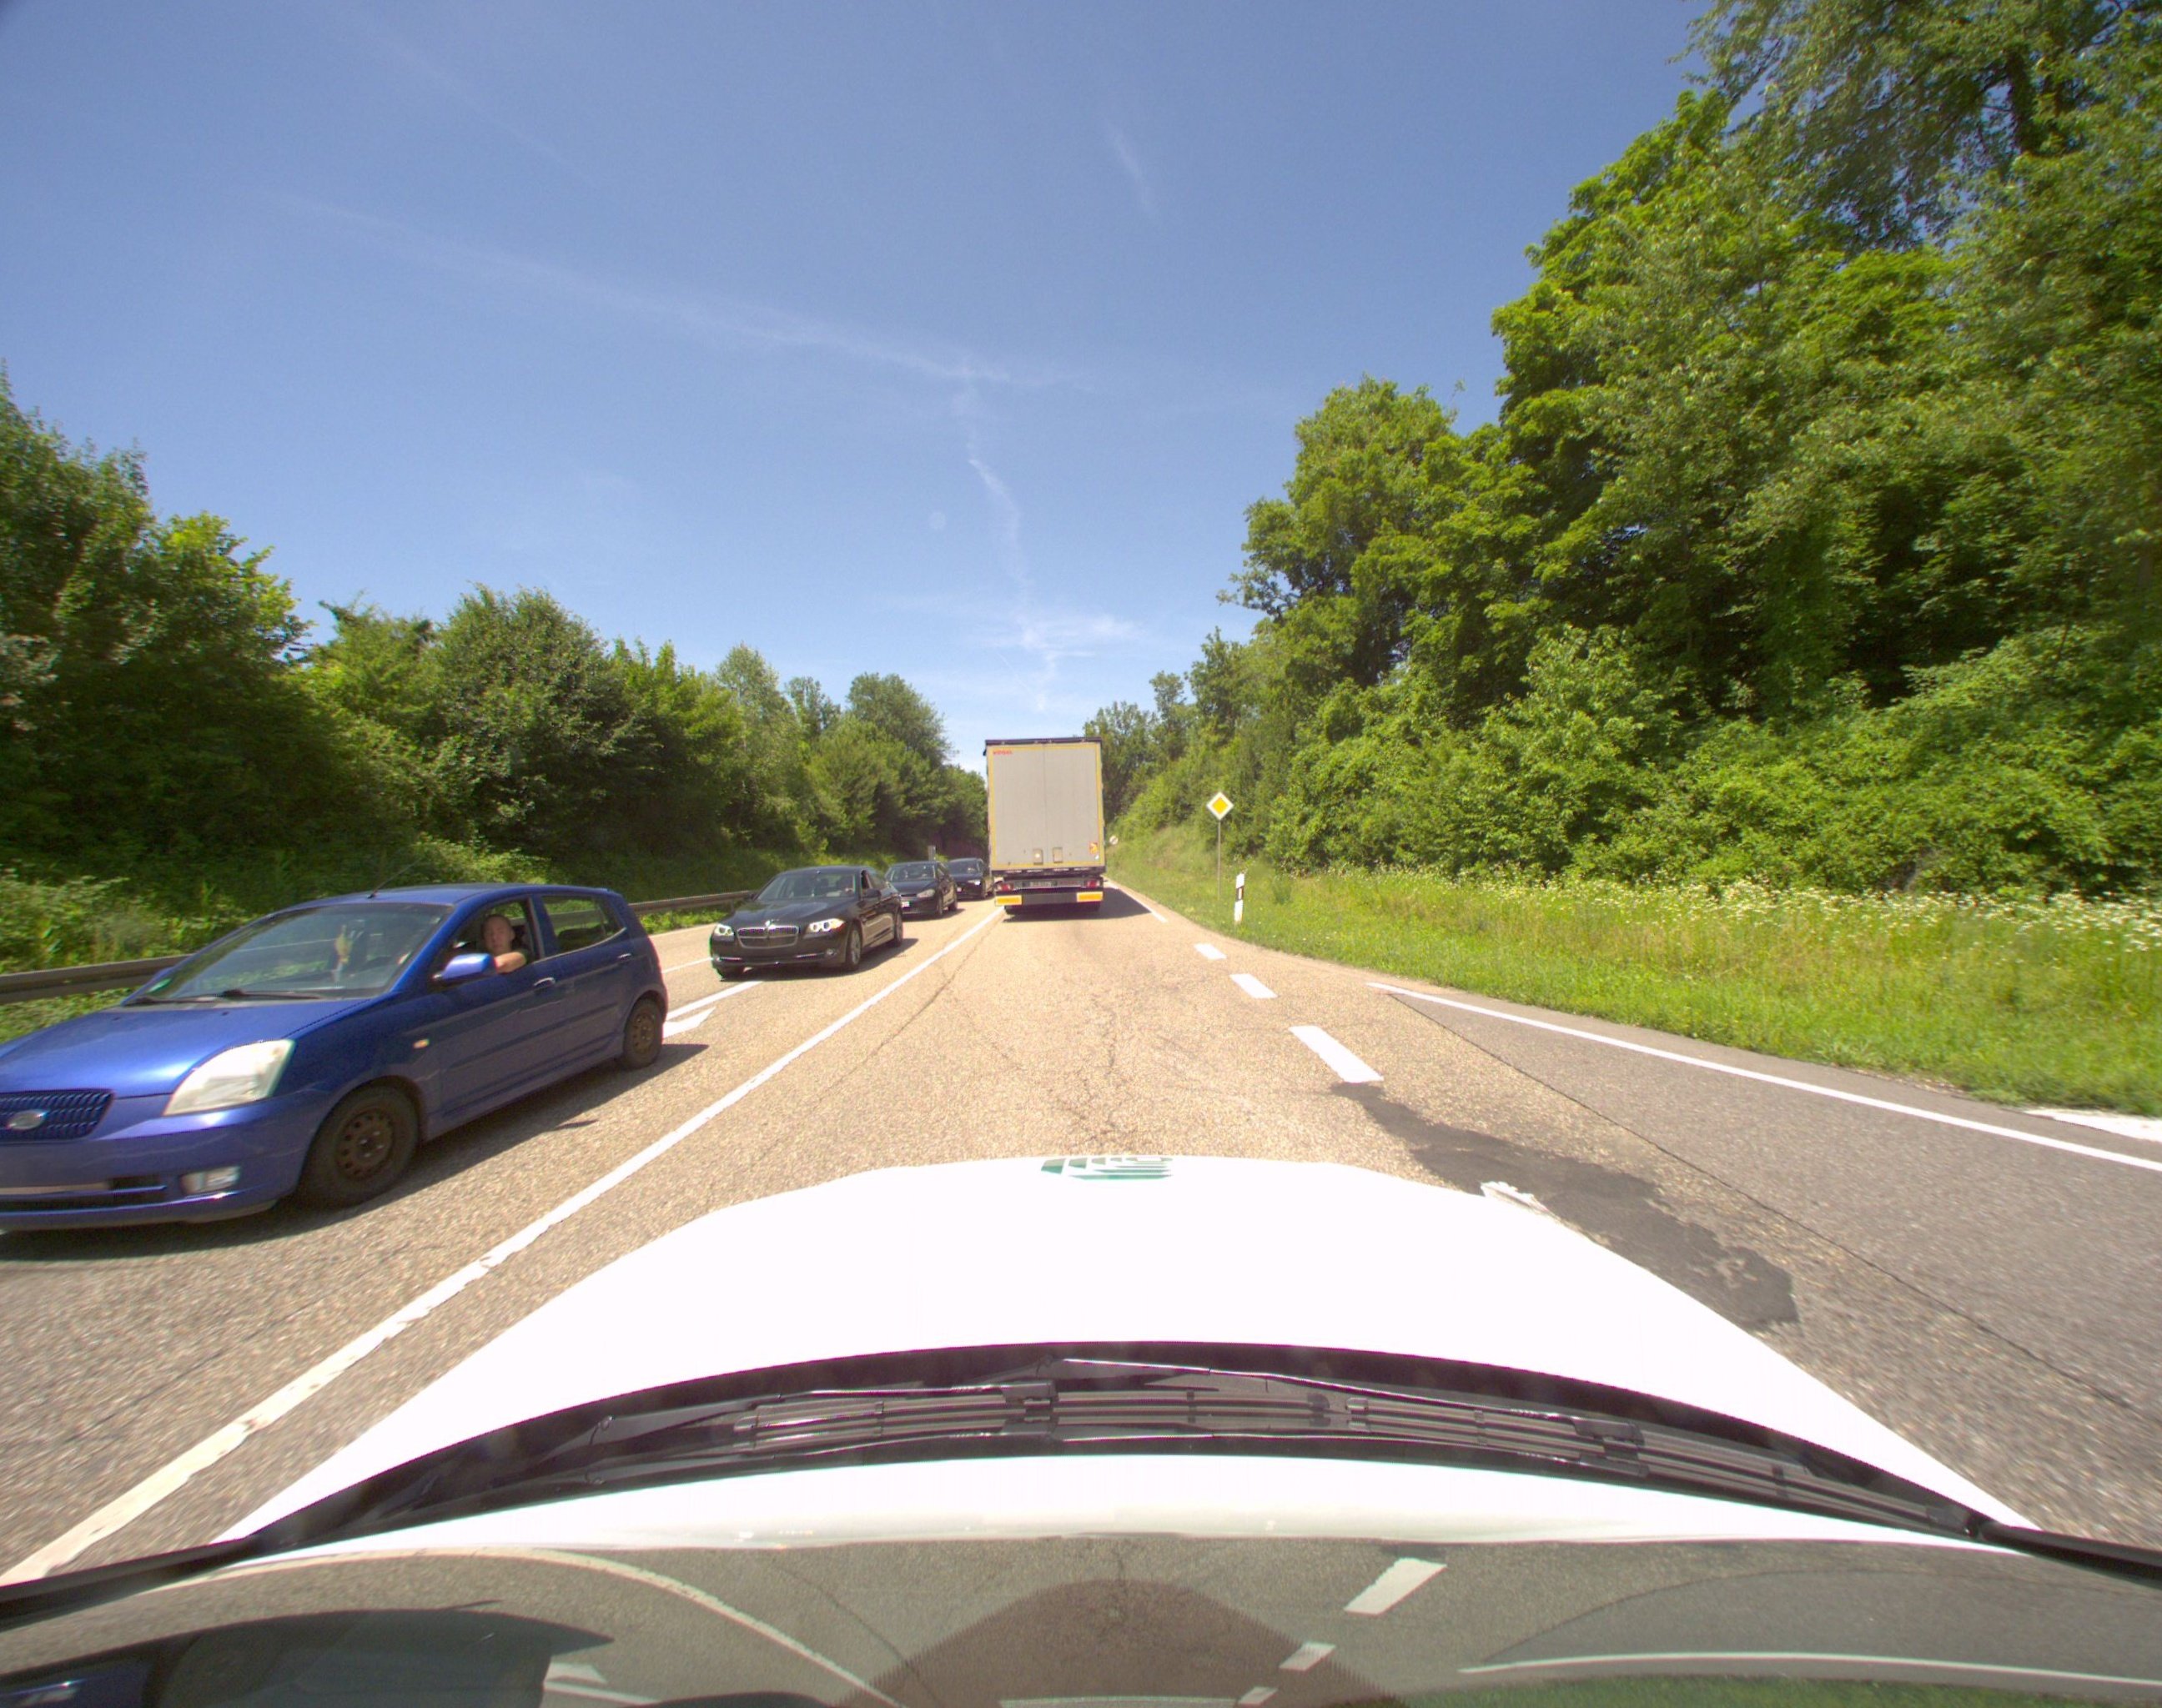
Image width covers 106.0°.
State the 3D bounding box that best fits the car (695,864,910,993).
[{"bbox_3d":[-3.992,0.963,12.580,1.777,1.447,4.637,-3,0,-2],"label":"car"}]

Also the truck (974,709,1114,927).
[{"bbox_3d":[-0.908,-0.804,21.007,2.815,4.603,6.659,-3,0,-2],"label":"truck"}]

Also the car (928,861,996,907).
[{"bbox_3d":[-4.224,1.020,29.555,1.799,1.453,4.385,-3,0,0],"label":"car"}]

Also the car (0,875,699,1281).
[{"bbox_3d":[-4.096,0.946,5.105,1.561,1.440,3.770,-2,0,0],"label":"car"}]

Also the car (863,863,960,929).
[{"bbox_3d":[-4.257,0.995,21.065,1.677,1.414,4.179,-2,0,-2],"label":"car"}]
